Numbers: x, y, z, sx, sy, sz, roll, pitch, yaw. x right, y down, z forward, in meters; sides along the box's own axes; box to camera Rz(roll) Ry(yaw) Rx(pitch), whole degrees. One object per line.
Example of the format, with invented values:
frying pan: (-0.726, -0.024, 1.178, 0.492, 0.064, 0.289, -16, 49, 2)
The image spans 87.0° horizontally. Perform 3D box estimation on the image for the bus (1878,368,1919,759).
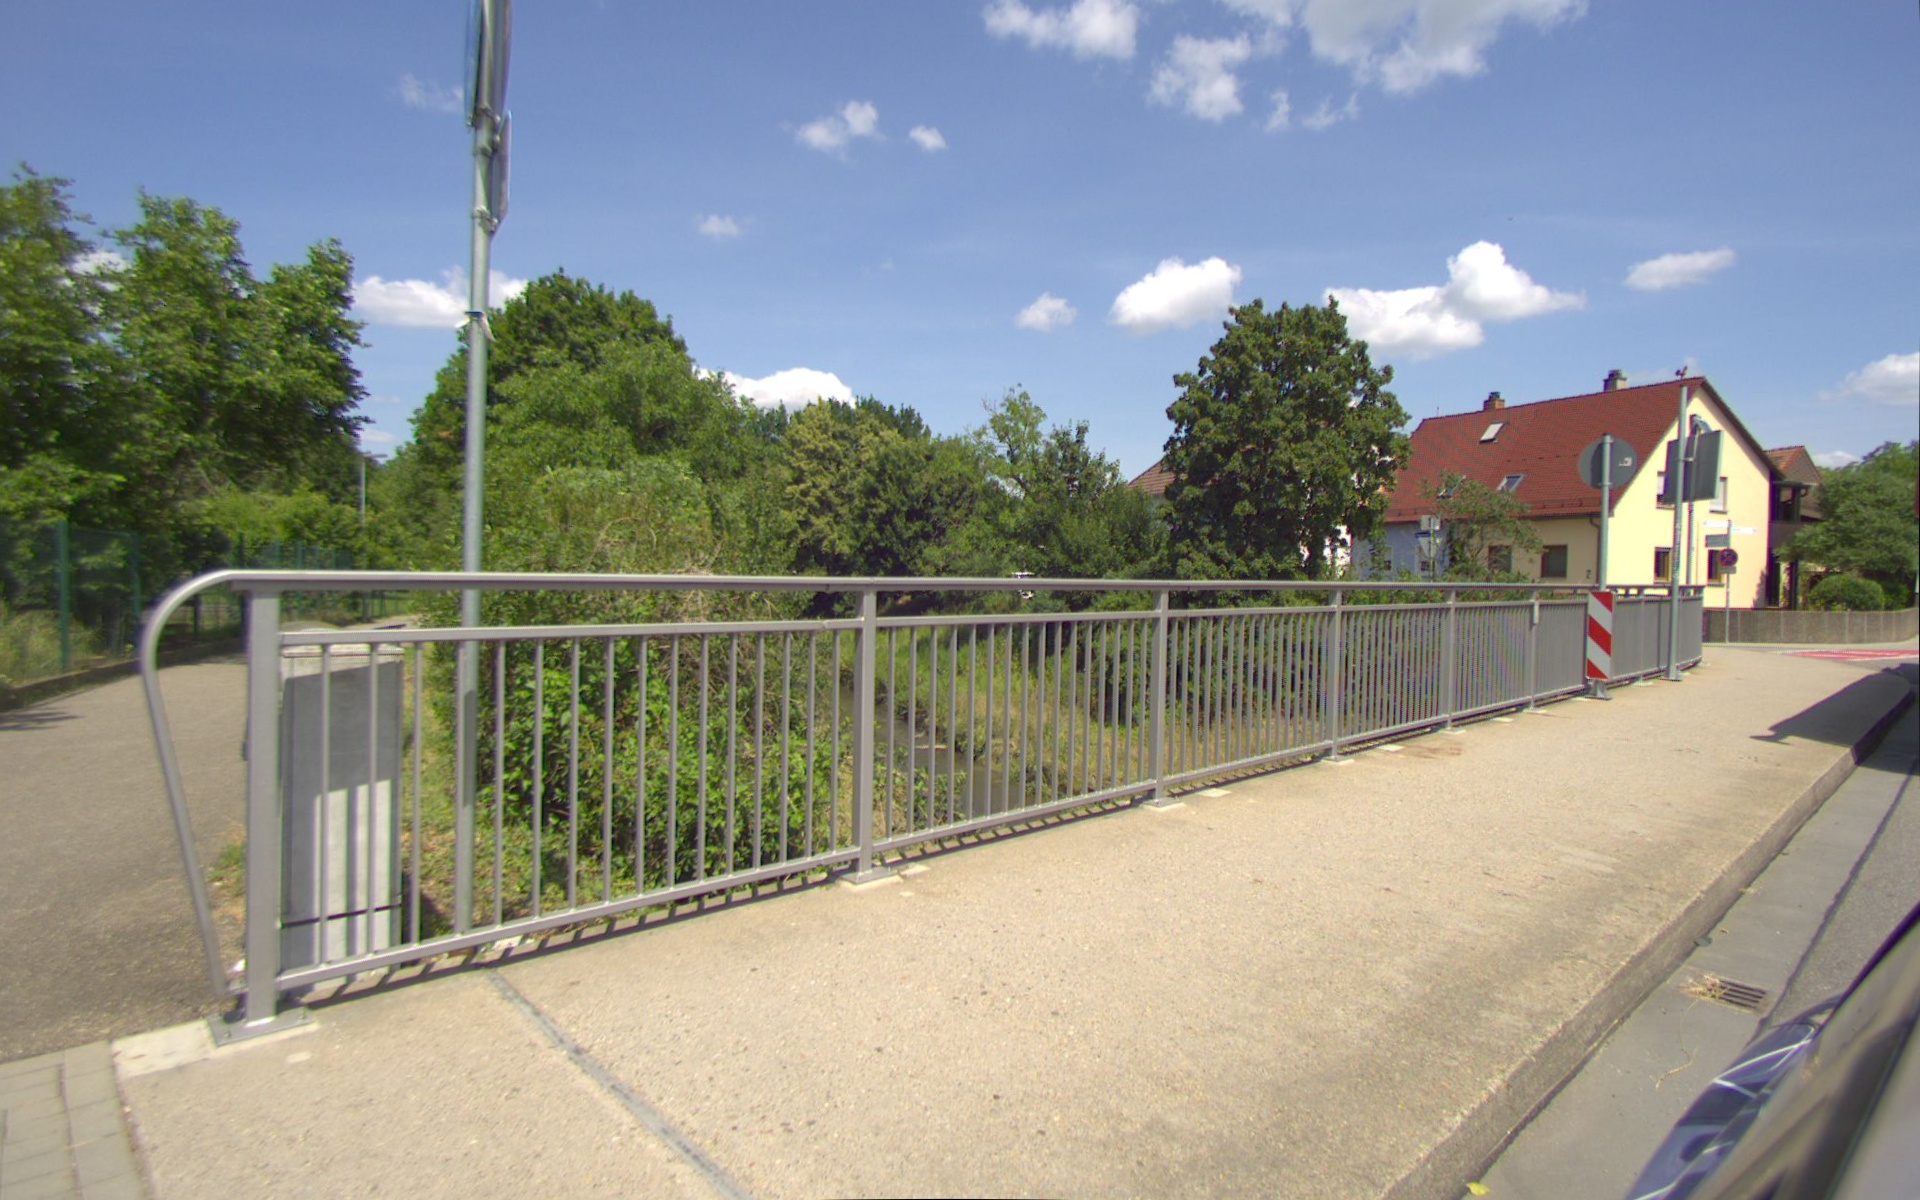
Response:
bus: (11.622, -0.108, 9.767, 9.114, 3.004, 2.755, 2, 2, -40)
